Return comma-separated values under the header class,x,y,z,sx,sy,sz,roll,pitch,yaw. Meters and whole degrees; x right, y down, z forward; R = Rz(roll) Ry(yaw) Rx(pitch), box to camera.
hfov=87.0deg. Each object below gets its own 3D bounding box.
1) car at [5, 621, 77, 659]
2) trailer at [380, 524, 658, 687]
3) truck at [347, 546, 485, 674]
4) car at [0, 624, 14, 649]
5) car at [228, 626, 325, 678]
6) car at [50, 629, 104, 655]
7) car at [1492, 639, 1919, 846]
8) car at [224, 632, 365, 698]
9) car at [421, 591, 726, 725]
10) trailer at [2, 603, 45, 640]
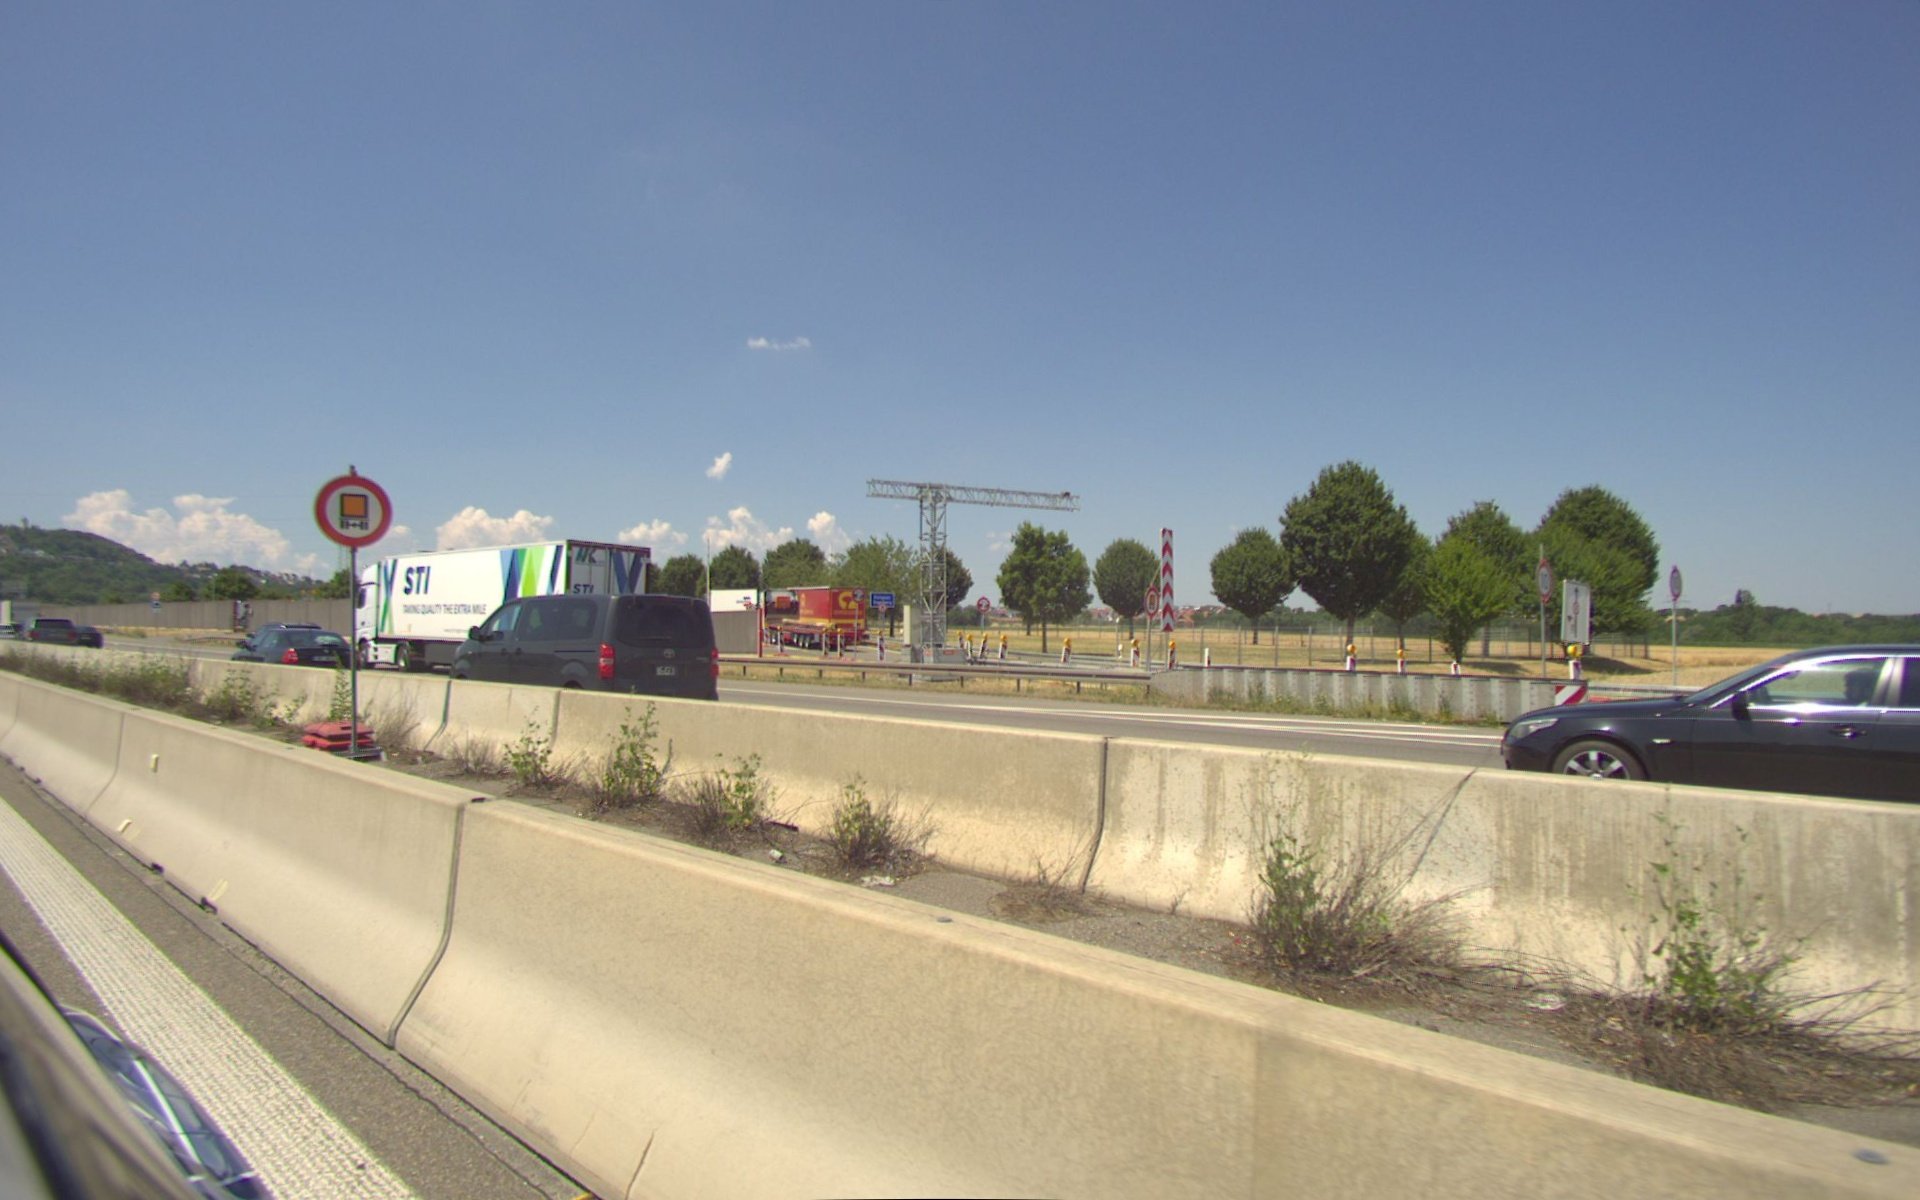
class,x,y,z,sx,sy,sz,roll,pitch,yaw
car,-41.799,1.792,46.008,4.818,1.629,1.870,-1,-1,41
trailer,-14.657,0.328,32.665,12.987,4.408,2.862,-1,-4,41
truck,-20.212,0.440,37.542,4.900,4.408,2.840,-1,-4,41
car,-59.840,2.237,62.481,4.506,1.530,1.657,-1,-1,41
car,-23.496,1.744,34.727,4.663,1.664,1.638,-2,-2,42
car,-53.851,2.537,61.692,4.960,1.497,1.793,-1,-2,41
car,7.121,1.010,7.745,5.082,1.397,1.993,-2,-3,41
car,-15.248,1.414,23.089,4.265,1.362,1.638,-2,-2,42
car,-5.683,0.750,14.459,5.342,1.581,1.824,-2,-2,42
trailer,-100.315,2.295,108.353,6.614,3.903,2.620,-1,-3,41
